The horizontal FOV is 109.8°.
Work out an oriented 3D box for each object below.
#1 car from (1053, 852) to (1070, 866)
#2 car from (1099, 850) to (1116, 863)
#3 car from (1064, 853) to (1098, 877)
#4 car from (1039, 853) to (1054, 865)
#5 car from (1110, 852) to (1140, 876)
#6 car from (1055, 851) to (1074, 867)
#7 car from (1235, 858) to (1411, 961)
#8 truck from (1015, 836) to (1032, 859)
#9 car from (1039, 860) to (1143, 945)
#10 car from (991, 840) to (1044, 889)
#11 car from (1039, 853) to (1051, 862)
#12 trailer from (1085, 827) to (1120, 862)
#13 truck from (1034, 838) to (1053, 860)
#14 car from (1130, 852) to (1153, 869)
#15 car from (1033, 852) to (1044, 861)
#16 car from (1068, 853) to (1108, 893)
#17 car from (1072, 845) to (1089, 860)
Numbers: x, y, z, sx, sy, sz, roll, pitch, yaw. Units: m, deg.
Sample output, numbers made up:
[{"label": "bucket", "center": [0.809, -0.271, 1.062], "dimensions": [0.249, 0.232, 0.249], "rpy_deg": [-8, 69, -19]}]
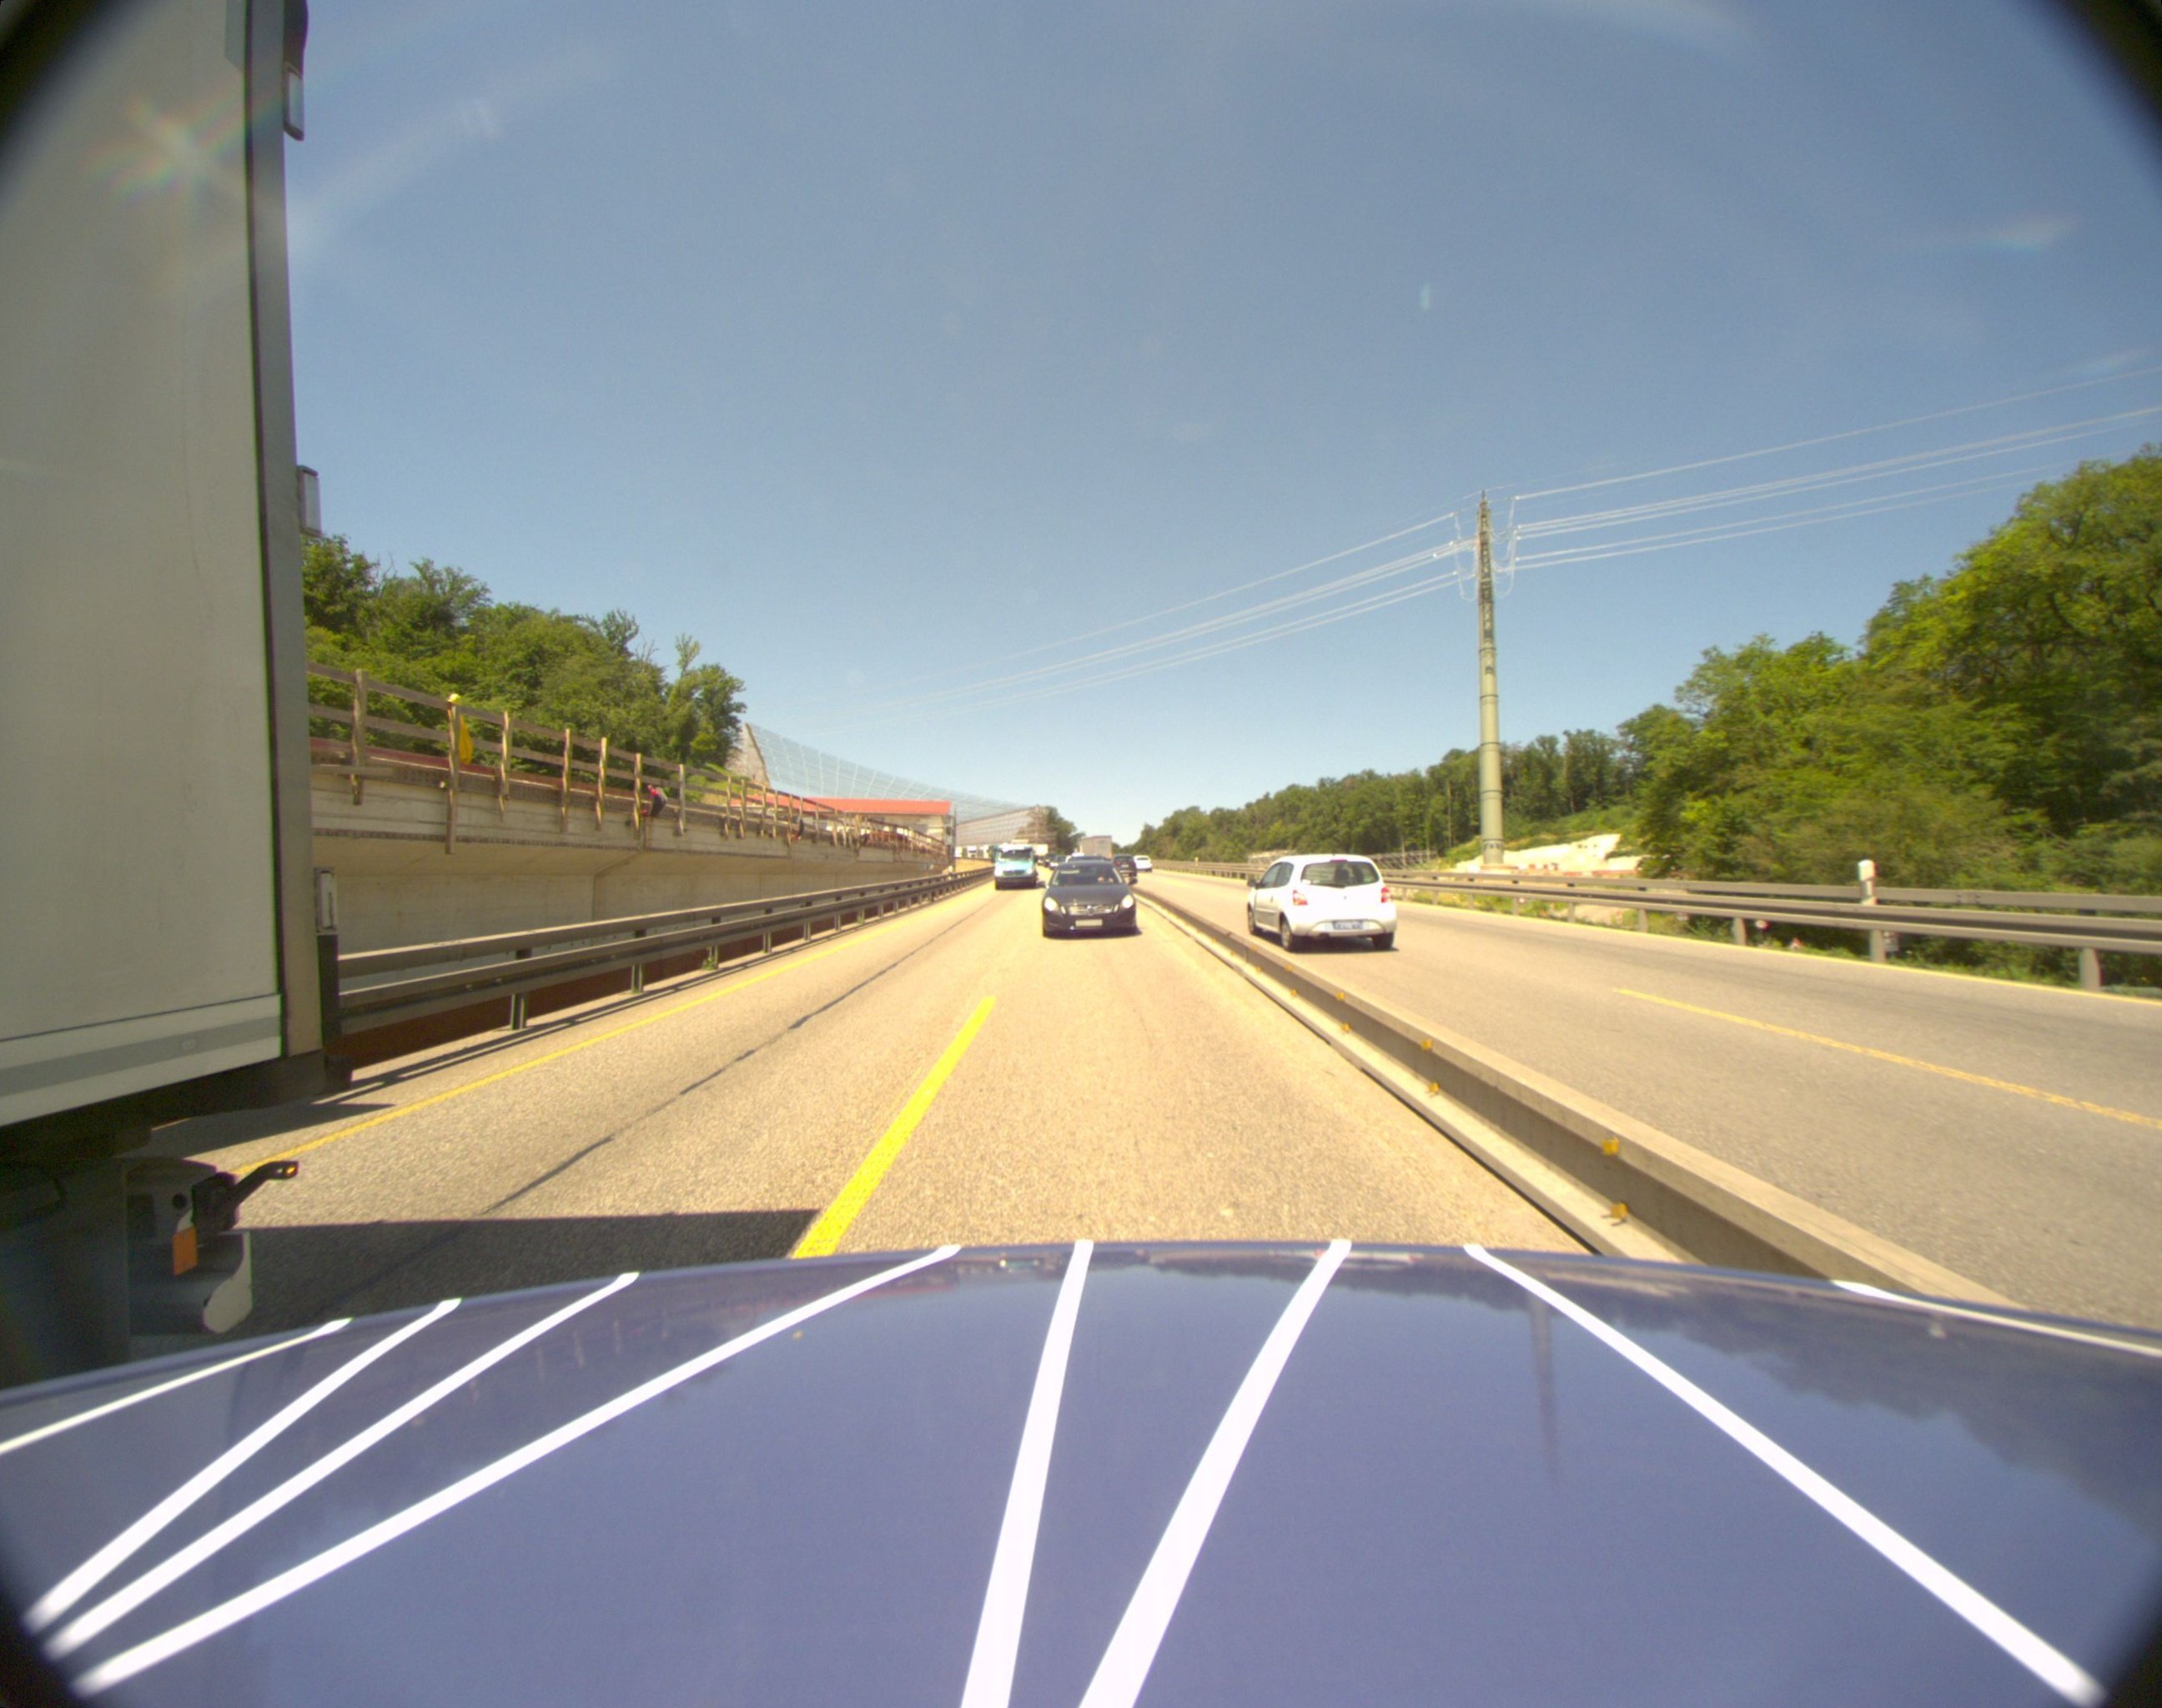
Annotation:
[{"label": "car", "center": [-2.192, 0.536, 83.942], "dimensions": [1.647, 1.366, 3.343], "rpy_deg": [-3, 1, -3]}, {"label": "car", "center": [2.993, 0.235, 85.837], "dimensions": [1.781, 1.420, 4.302], "rpy_deg": [-1, 1, 0]}, {"label": "car", "center": [-0.033, 0.764, 55.779], "dimensions": [2.298, 1.601, 4.664], "rpy_deg": [-3, 1, -2]}, {"label": "car", "center": [-4.476, 0.627, 99.051], "dimensions": [1.647, 1.366, 3.342], "rpy_deg": [-3, 1, -6]}, {"label": "car", "center": [3.181, 0.690, 55.653], "dimensions": [1.922, 1.586, 4.527], "rpy_deg": [-2, 1, 0]}, {"label": "car", "center": [-1.546, 0.451, 71.249], "dimensions": [1.647, 1.366, 3.343], "rpy_deg": [-3, 1, -2]}, {"label": "car", "center": [3.833, 0.806, 12.700], "dimensions": [1.751, 1.418, 3.709], "rpy_deg": [-1, 0, 0]}, {"label": "truck", "center": [-9.405, -1.074, 122.925], "dimensions": [2.472, 3.464, 9.863], "rpy_deg": [-3, 1, -5]}, {"label": "car", "center": [0.165, 0.899, 16.065], "dimensions": [1.844, 1.475, 4.562], "rpy_deg": [-2, 0, 0]}, {"label": "car", "center": [-3.242, 0.459, 40.118], "dimensions": [2.217, 2.312, 6.900], "rpy_deg": [-2, 1, 0]}, {"label": "car", "center": [-5.384, 0.514, 114.096], "dimensions": [1.647, 1.366, 3.344], "rpy_deg": [-3, 1, -1]}, {"label": "trailer", "center": [2.860, -1.298, 107.488], "dimensions": [3.499, 4.460, 12.919], "rpy_deg": [-3, 1, -4]}, {"label": "truck", "center": [-9.593, -1.237, 191.751], "dimensions": [3.567, 5.334, 16.083], "rpy_deg": [-3, 1, -6]}, {"label": "car", "center": [5.389, 0.557, 68.245], "dimensions": [1.704, 1.484, 3.999], "rpy_deg": [-1, 1, 0]}, {"label": "car", "center": [-7.364, 0.417, 132.331], "dimensions": [1.647, 1.366, 3.342], "rpy_deg": [-3, 1, -6]}, {"label": "car", "center": [0.354, 0.764, 32.790], "dimensions": [1.519, 1.543, 3.861], "rpy_deg": [-2, 1, 3]}, {"label": "car", "center": [-0.093, -0.195, 99.735], "dimensions": [1.865, 1.762, 4.231], "rpy_deg": [-3, 1, -2]}]
